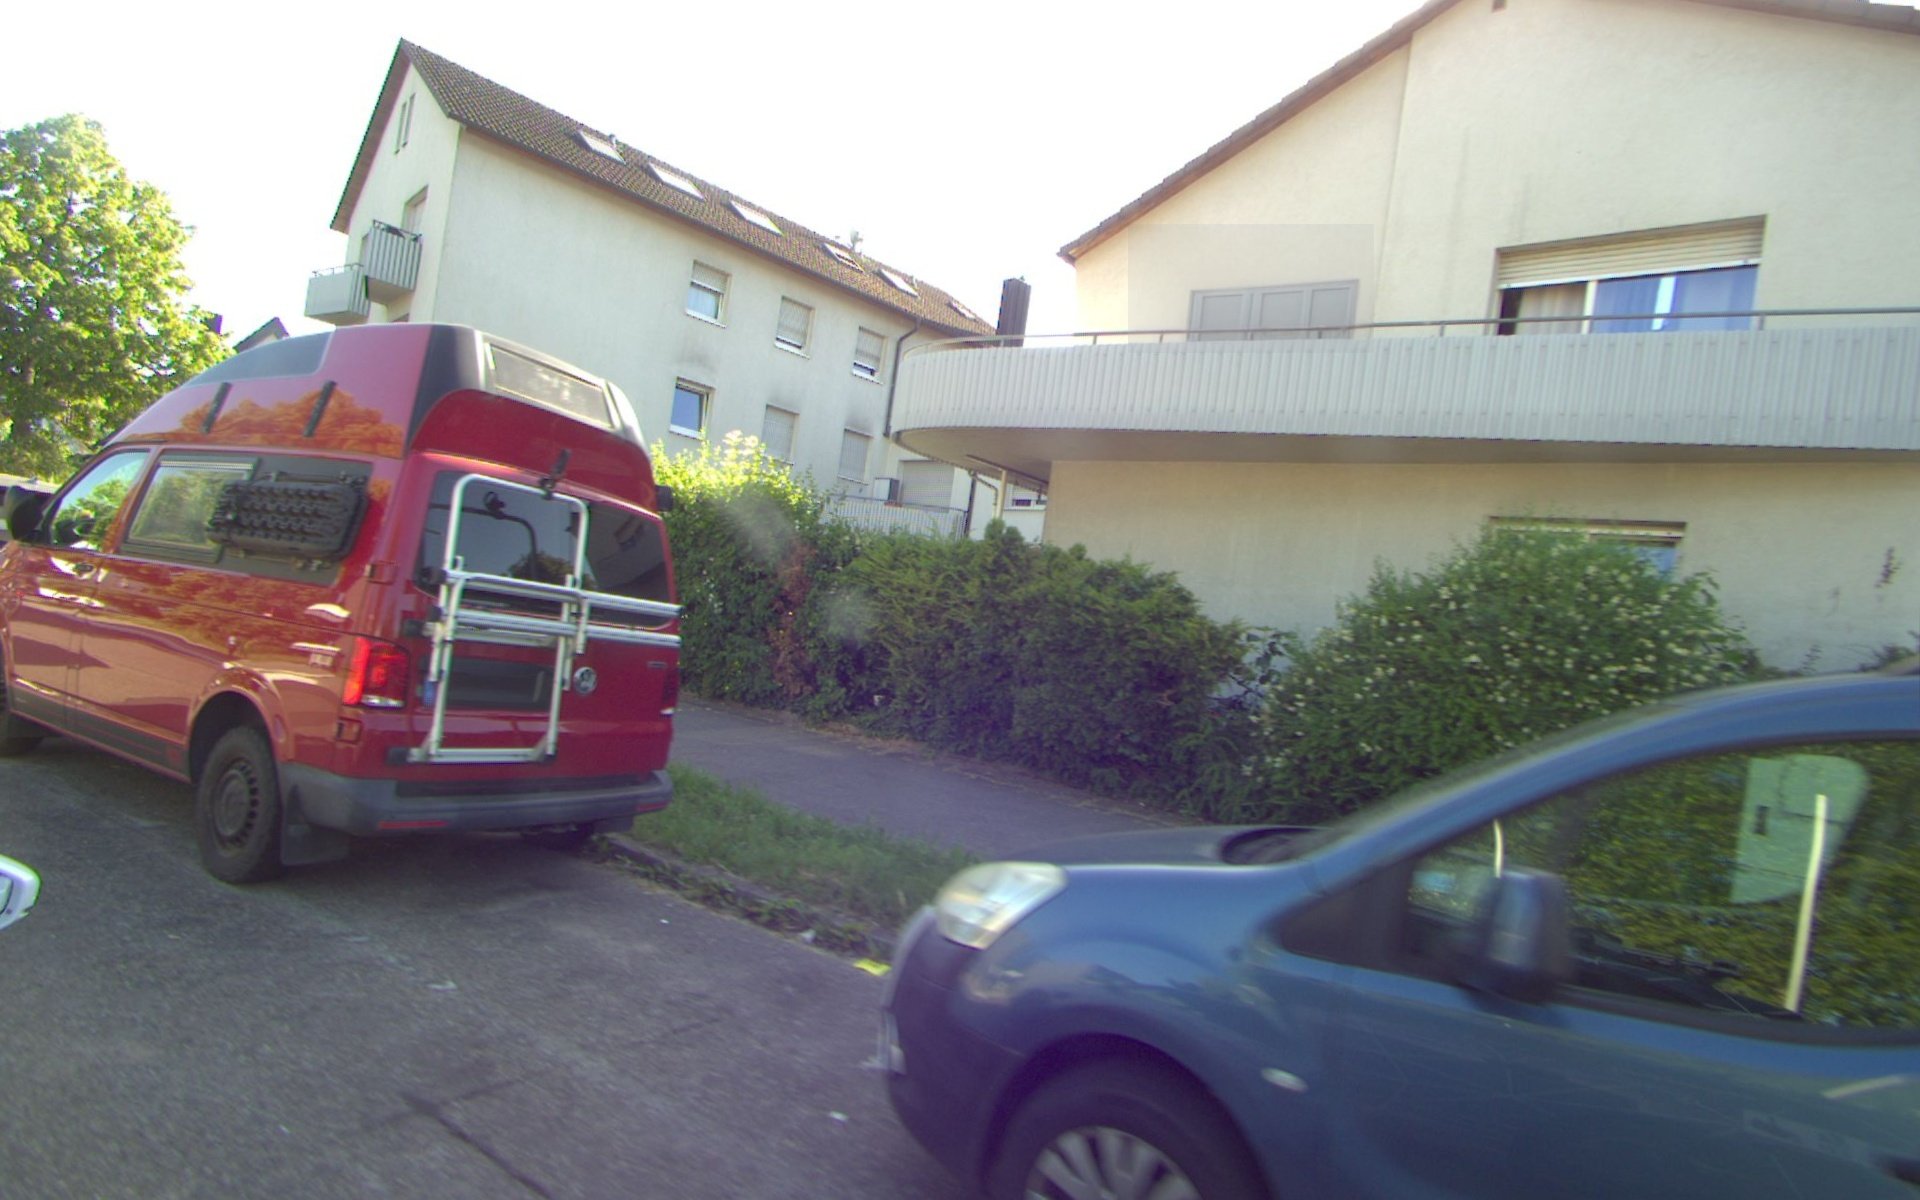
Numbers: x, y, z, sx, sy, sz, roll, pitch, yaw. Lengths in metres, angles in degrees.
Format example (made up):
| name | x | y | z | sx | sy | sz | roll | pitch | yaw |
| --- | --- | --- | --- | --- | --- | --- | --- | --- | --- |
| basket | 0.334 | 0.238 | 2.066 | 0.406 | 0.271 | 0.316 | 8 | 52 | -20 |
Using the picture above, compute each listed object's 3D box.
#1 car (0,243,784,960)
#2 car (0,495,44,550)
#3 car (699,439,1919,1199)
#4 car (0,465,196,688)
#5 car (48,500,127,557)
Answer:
| name | x | y | z | sx | sy | sz | roll | pitch | yaw |
| --- | --- | --- | --- | --- | --- | --- | --- | --- | --- |
| car | -3.819 | -0.178 | 5.853 | 5.134 | 2.674 | 1.962 | 7 | -2 | 30 |
| car | -32.368 | -2.739 | 33.774 | 4.737 | 1.438 | 1.991 | 9 | -1 | 44 |
| car | 1.827 | 0.874 | 2.216 | 4.484 | 1.867 | 1.862 | 8 | -3 | 32 |
| car | -9.559 | -0.416 | 9.610 | 4.500 | 1.757 | 1.962 | 7 | -2 | 32 |
| car | -30.948 | -2.580 | 35.791 | 1.702 | 1.534 | 4.355 | 11 | -2 | -38 |
